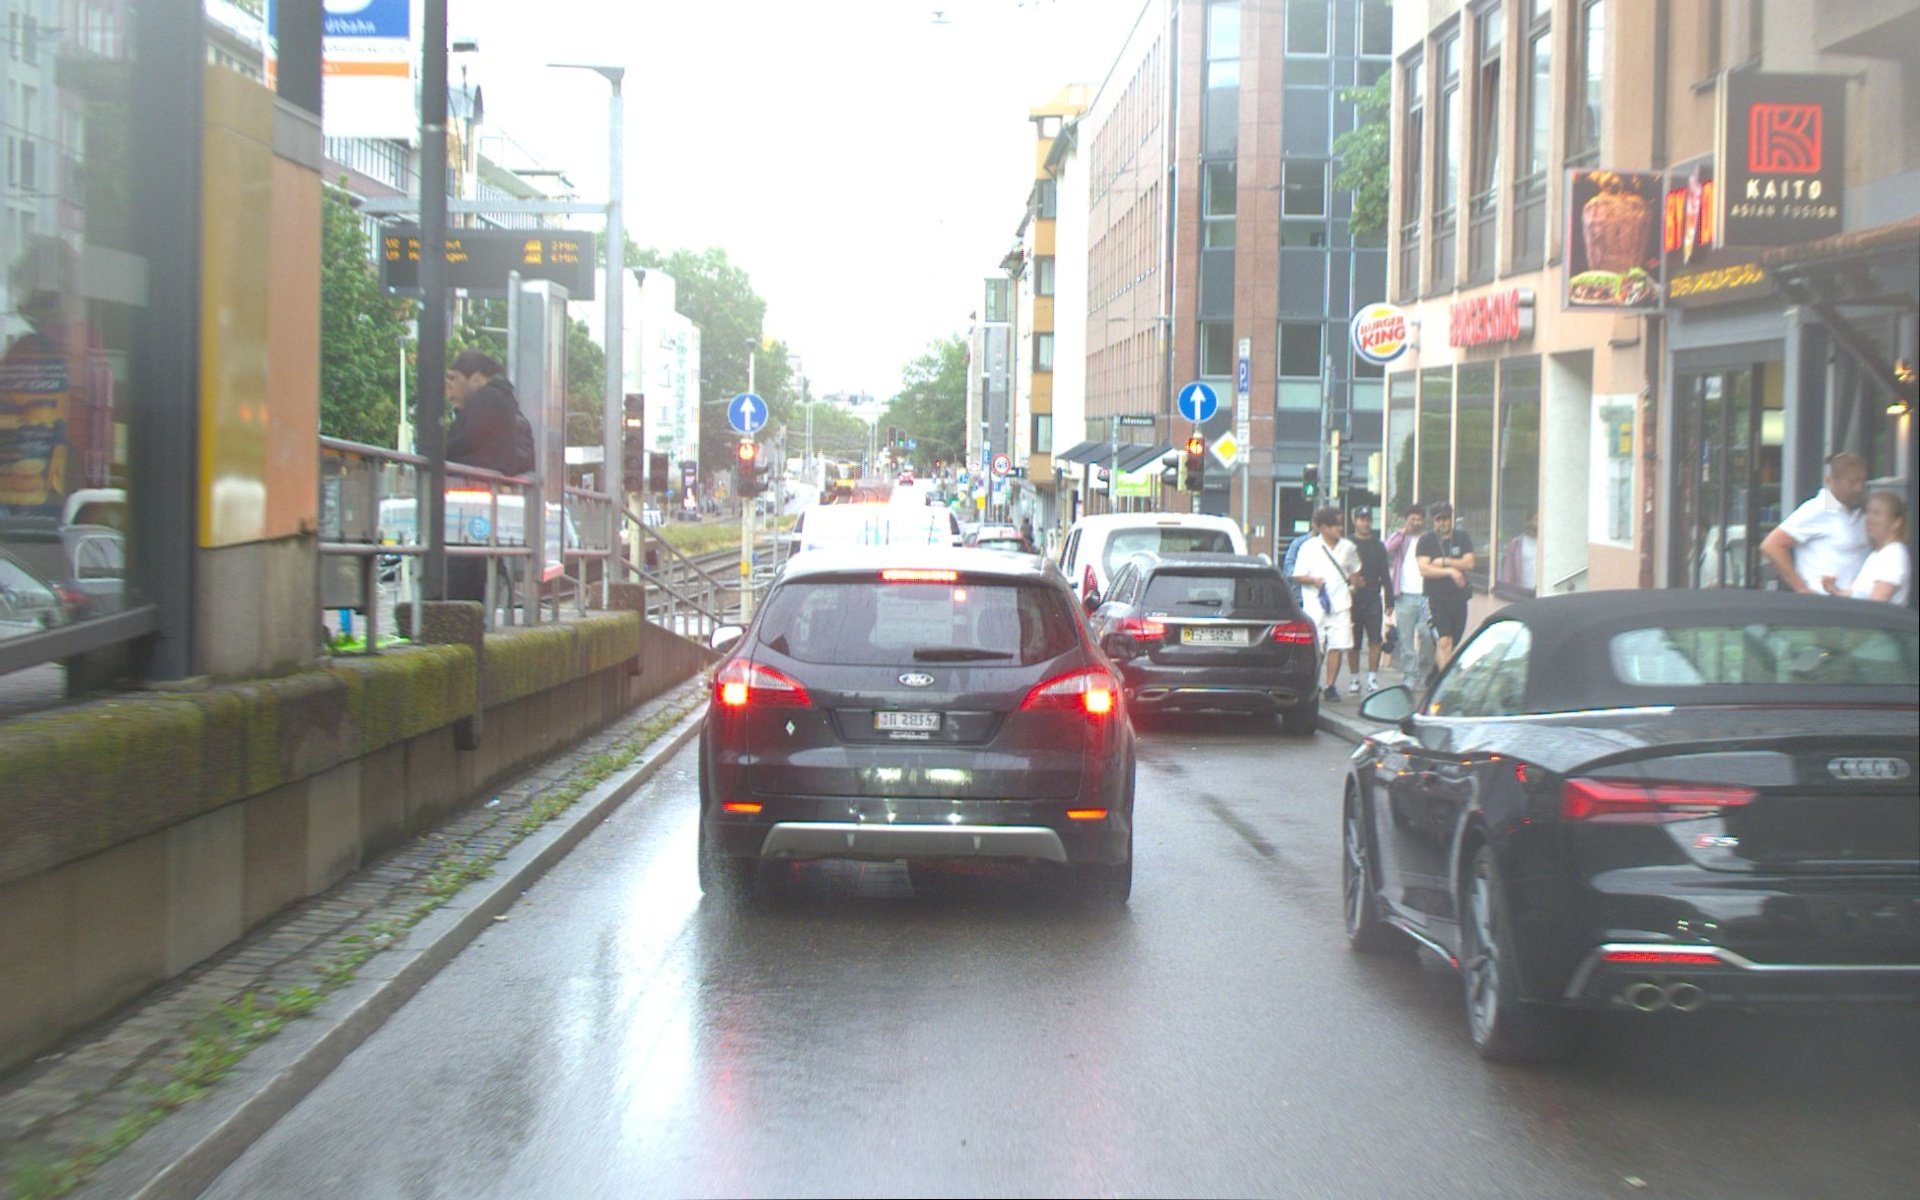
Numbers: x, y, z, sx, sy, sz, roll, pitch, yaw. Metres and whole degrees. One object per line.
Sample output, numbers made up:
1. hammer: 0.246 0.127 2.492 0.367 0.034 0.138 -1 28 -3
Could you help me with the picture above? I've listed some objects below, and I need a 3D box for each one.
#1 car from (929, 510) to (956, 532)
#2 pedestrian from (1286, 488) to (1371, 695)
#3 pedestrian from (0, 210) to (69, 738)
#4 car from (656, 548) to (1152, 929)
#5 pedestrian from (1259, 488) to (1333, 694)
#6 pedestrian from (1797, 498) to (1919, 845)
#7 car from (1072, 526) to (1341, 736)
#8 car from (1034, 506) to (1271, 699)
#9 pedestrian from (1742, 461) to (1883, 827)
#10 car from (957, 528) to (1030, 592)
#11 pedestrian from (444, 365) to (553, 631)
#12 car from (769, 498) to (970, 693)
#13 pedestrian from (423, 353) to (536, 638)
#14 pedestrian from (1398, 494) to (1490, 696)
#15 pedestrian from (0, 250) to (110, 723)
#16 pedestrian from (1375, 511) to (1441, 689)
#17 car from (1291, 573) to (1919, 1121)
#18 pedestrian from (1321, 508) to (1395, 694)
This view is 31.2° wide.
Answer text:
1. car: -1.280 -5.847 254.728 1.906 1.628 4.574 1 1 0
2. pedestrian: 3.321 -0.079 31.028 0.695 1.848 0.652 0 1 1
3. pedestrian: -2.715 -0.313 8.777 0.728 1.297 0.701 0 1 -3
4. car: -0.226 0.515 15.030 1.906 1.457 3.445 1 1 0
5. pedestrian: 3.190 -0.092 32.679 0.651 1.941 0.533 0 1 1
6. pedestrian: 4.498 0.341 16.930 0.544 1.675 0.596 0 1 -8
7. car: 1.988 0.214 28.951 1.906 1.610 4.414 1 1 0
8. car: 1.873 -0.008 34.823 1.906 1.800 4.778 1 1 -3
9. pedestrian: 4.374 0.219 17.660 0.528 1.852 0.557 0 1 -8
10. car: 0.823 -0.985 83.879 1.698 1.474 3.867 -2 1 1
11. pedestrian: -2.739 -0.601 20.451 0.583 1.552 0.701 0 1 -3
12. car: -0.880 -0.071 35.206 1.906 1.858 4.574 1 1 0
13. pedestrian: -2.754 -0.592 19.742 0.583 1.604 0.701 0 1 -3
14. pedestrian: 4.388 -0.050 31.215 0.756 1.813 0.588 0 1 1
15. pedestrian: -2.852 -0.315 9.766 0.728 1.297 0.701 0 1 -3
16. pedestrian: 4.308 -0.002 33.085 0.576 1.708 0.477 0 1 1
17. car: 2.313 0.658 11.450 1.906 1.457 4.246 1 1 -1
18. pedestrian: 3.672 0.005 31.743 0.610 1.708 0.581 0 1 1
